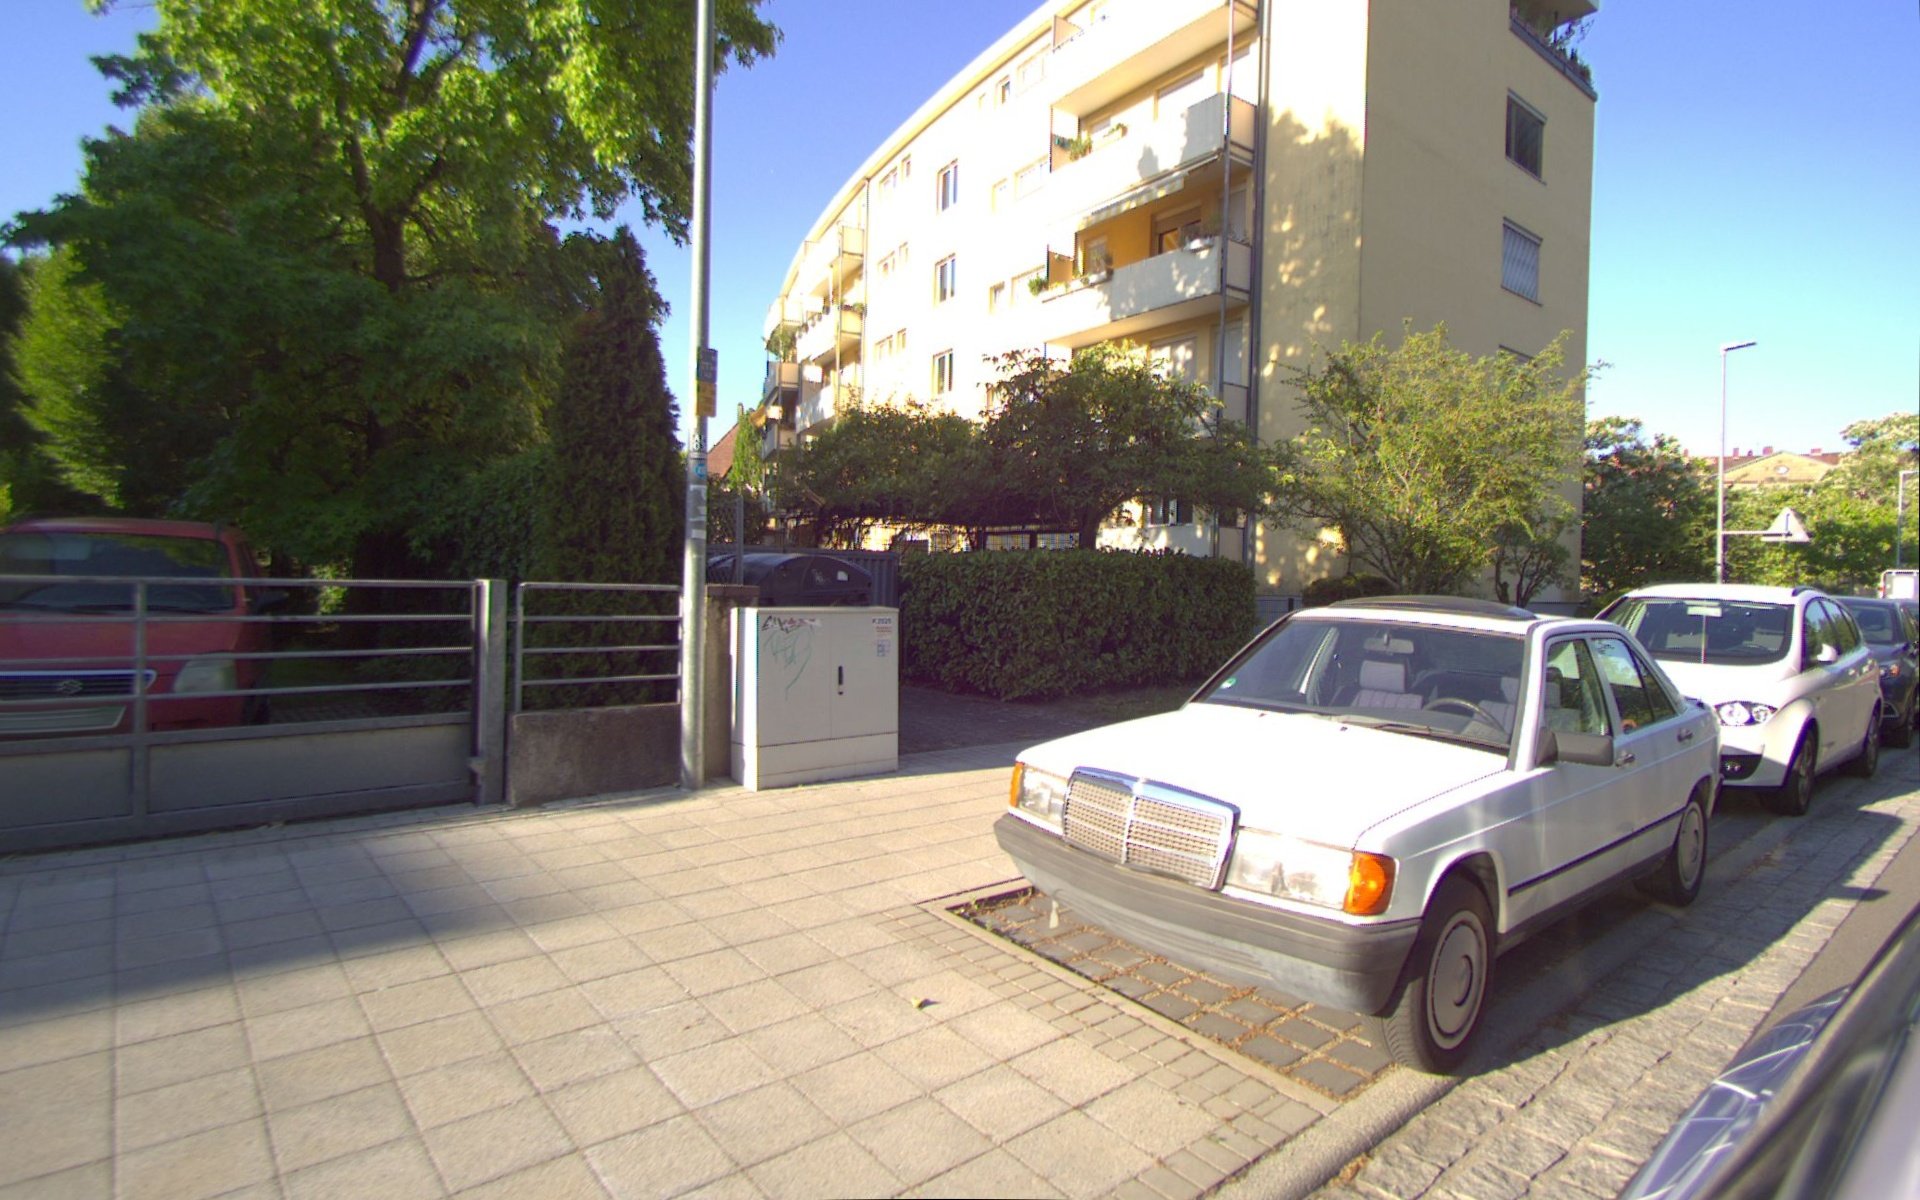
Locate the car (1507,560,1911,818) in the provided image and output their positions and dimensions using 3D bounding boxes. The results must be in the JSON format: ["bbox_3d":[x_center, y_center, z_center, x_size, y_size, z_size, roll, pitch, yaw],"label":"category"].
[{"bbox_3d":[6.220,0.538,8.237,4.056,1.575,1.683,0,2,-40],"label":"car"}]

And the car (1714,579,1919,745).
[{"bbox_3d":[10.446,0.600,11.893,4.072,1.575,1.682,0,3,-41],"label":"car"}]

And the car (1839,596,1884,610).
[{"bbox_3d":[107.185,0.350,120.361,3.675,1.518,1.707,1,0,32],"label":"car"}]

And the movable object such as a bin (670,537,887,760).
[{"bbox_3d":[-1.345,0.304,7.408,1.103,1.450,1.240,0,0,-39],"label":"movable object such as a bin"}]

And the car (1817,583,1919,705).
[{"bbox_3d":[14.621,0.633,15.477,4.097,1.630,1.713,0,3,-42],"label":"car"}]

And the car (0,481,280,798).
[{"bbox_3d":[-5.720,0.174,6.962,1.611,1.662,3.507,0,1,-32],"label":"car"}]

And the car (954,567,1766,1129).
[{"bbox_3d":[2.128,0.628,4.593,4.297,1.407,1.567,0,2,-41],"label":"car"}]
